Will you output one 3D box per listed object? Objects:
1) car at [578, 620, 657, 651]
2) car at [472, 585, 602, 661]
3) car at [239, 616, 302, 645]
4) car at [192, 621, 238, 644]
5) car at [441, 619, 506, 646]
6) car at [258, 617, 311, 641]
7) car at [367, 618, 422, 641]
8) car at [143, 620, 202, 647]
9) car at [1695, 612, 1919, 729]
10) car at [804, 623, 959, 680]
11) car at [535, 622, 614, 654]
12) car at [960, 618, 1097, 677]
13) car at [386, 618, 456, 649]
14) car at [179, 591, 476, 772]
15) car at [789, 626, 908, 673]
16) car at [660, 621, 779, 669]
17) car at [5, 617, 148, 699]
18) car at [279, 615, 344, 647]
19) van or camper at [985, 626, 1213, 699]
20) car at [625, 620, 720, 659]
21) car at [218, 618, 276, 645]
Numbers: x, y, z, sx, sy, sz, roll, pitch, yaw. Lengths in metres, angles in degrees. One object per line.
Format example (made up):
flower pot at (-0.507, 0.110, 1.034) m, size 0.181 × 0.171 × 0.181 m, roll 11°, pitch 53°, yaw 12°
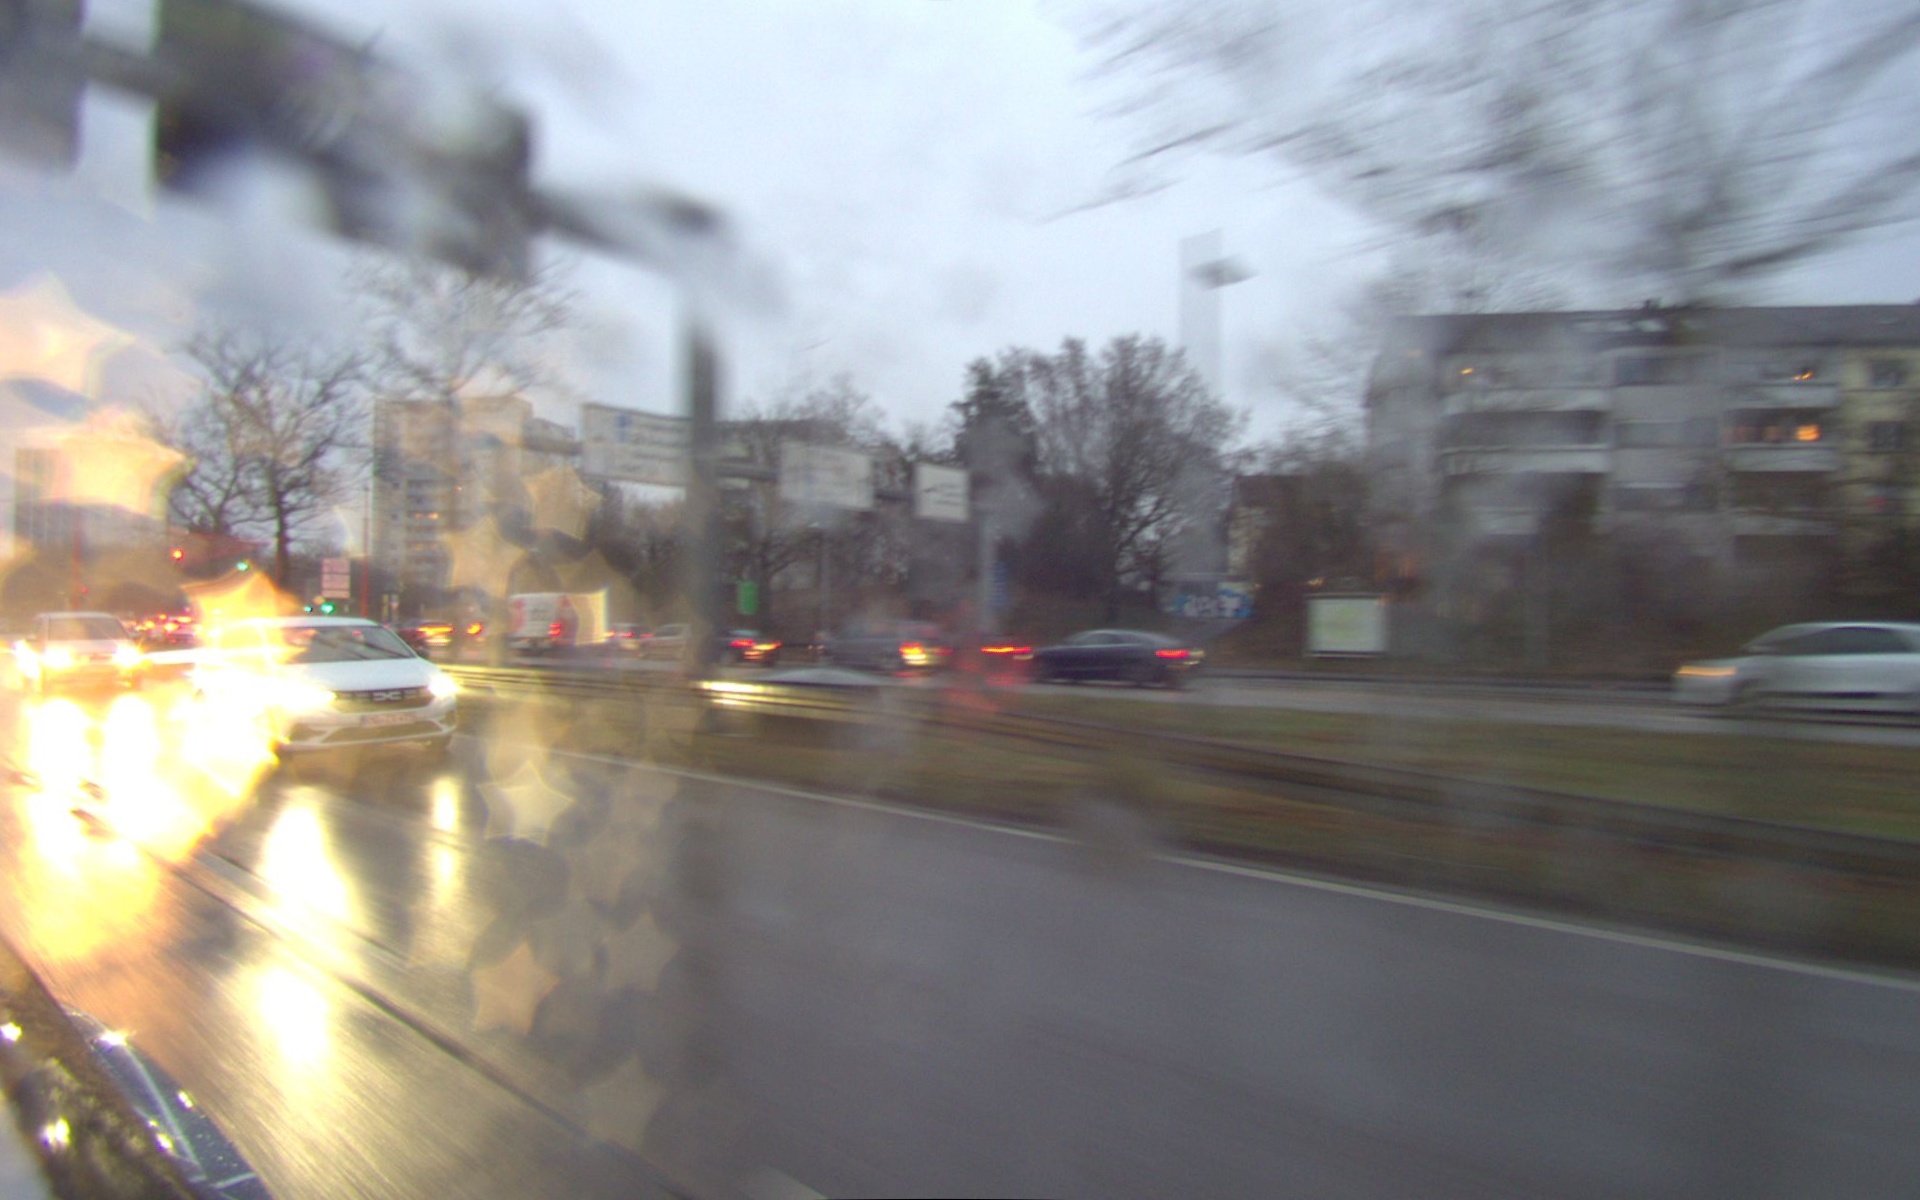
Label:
car at (-17.741, 1.800, 52.358) m, size 4.440 × 1.457 × 1.884 m, roll 0°, pitch -1°, yaw 41°
car at (-18.367, 0.884, 43.681) m, size 7.345 × 3.027 × 2.267 m, roll 0°, pitch 1°, yaw 42°
car at (-38.539, 1.672, 56.537) m, size 4.521 × 1.545 × 1.752 m, roll -1°, pitch -2°, yaw 40°
car at (-47.790, 2.089, 64.911) m, size 3.323 × 1.431 × 1.635 m, roll -1°, pitch -2°, yaw 40°
car at (-26.789, 1.755, 55.694) m, size 3.997 × 1.409 × 1.738 m, roll -1°, pitch -1°, yaw 40°
car at (-45.496, 1.934, 68.129) m, size 4.436 × 1.506 × 1.752 m, roll -1°, pitch -2°, yaw 40°
car at (-35.580, 1.844, 63.667) m, size 3.997 × 1.409 × 1.738 m, roll -1°, pitch -1°, yaw 40°
car at (-46.274, 1.952, 59.464) m, size 4.837 × 1.548 × 1.752 m, roll -1°, pitch -2°, yaw 40°
car at (13.591, 1.015, 15.590) m, size 3.571 × 1.639 × 1.767 m, roll -1°, pitch -1°, yaw 40°
car at (-2.319, 1.434, 29.225) m, size 4.440 × 1.457 × 1.884 m, roll 0°, pitch -1°, yaw 41°
car at (-18.044, 1.728, 47.337) m, size 3.997 × 1.409 × 1.738 m, roll -1°, pitch -1°, yaw 40°
car at (2.297, 1.558, 34.673) m, size 4.425 × 1.865 × 1.972 m, roll -1°, pitch -1°, yaw 42°
car at (-27.586, 1.686, 51.724) m, size 4.444 × 1.548 × 1.751 m, roll -1°, pitch -2°, yaw 42°
car at (-7.180, 0.768, 11.317) m, size 4.145 × 1.660 × 1.696 m, roll 0°, pitch -1°, yaw 41°
car at (-3.886, 1.653, 34.962) m, size 4.169 × 1.457 × 1.718 m, roll 0°, pitch -1°, yaw 41°
car at (-8.186, 1.475, 34.231) m, size 1.882 × 1.457 × 4.458 m, roll 0°, pitch -1°, yaw -45°
car at (-19.050, 1.174, 21.768) m, size 4.186 × 1.551 × 1.673 m, roll 0°, pitch 0°, yaw 40°
car at (-33.853, 1.588, 52.814) m, size 4.030 × 1.598 × 1.752 m, roll -1°, pitch -2°, yaw 40°
van or camper at (3.176, 1.393, 23.914) m, size 5.155 × 1.457 × 1.884 m, roll 0°, pitch -1°, yaw 41°
car at (-11.949, 1.596, 41.951) m, size 4.087 × 1.457 × 1.884 m, roll 0°, pitch -1°, yaw 41°
car at (-43.076, 1.885, 61.134) m, size 4.284 × 1.611 × 1.838 m, roll -1°, pitch -2°, yaw 40°
